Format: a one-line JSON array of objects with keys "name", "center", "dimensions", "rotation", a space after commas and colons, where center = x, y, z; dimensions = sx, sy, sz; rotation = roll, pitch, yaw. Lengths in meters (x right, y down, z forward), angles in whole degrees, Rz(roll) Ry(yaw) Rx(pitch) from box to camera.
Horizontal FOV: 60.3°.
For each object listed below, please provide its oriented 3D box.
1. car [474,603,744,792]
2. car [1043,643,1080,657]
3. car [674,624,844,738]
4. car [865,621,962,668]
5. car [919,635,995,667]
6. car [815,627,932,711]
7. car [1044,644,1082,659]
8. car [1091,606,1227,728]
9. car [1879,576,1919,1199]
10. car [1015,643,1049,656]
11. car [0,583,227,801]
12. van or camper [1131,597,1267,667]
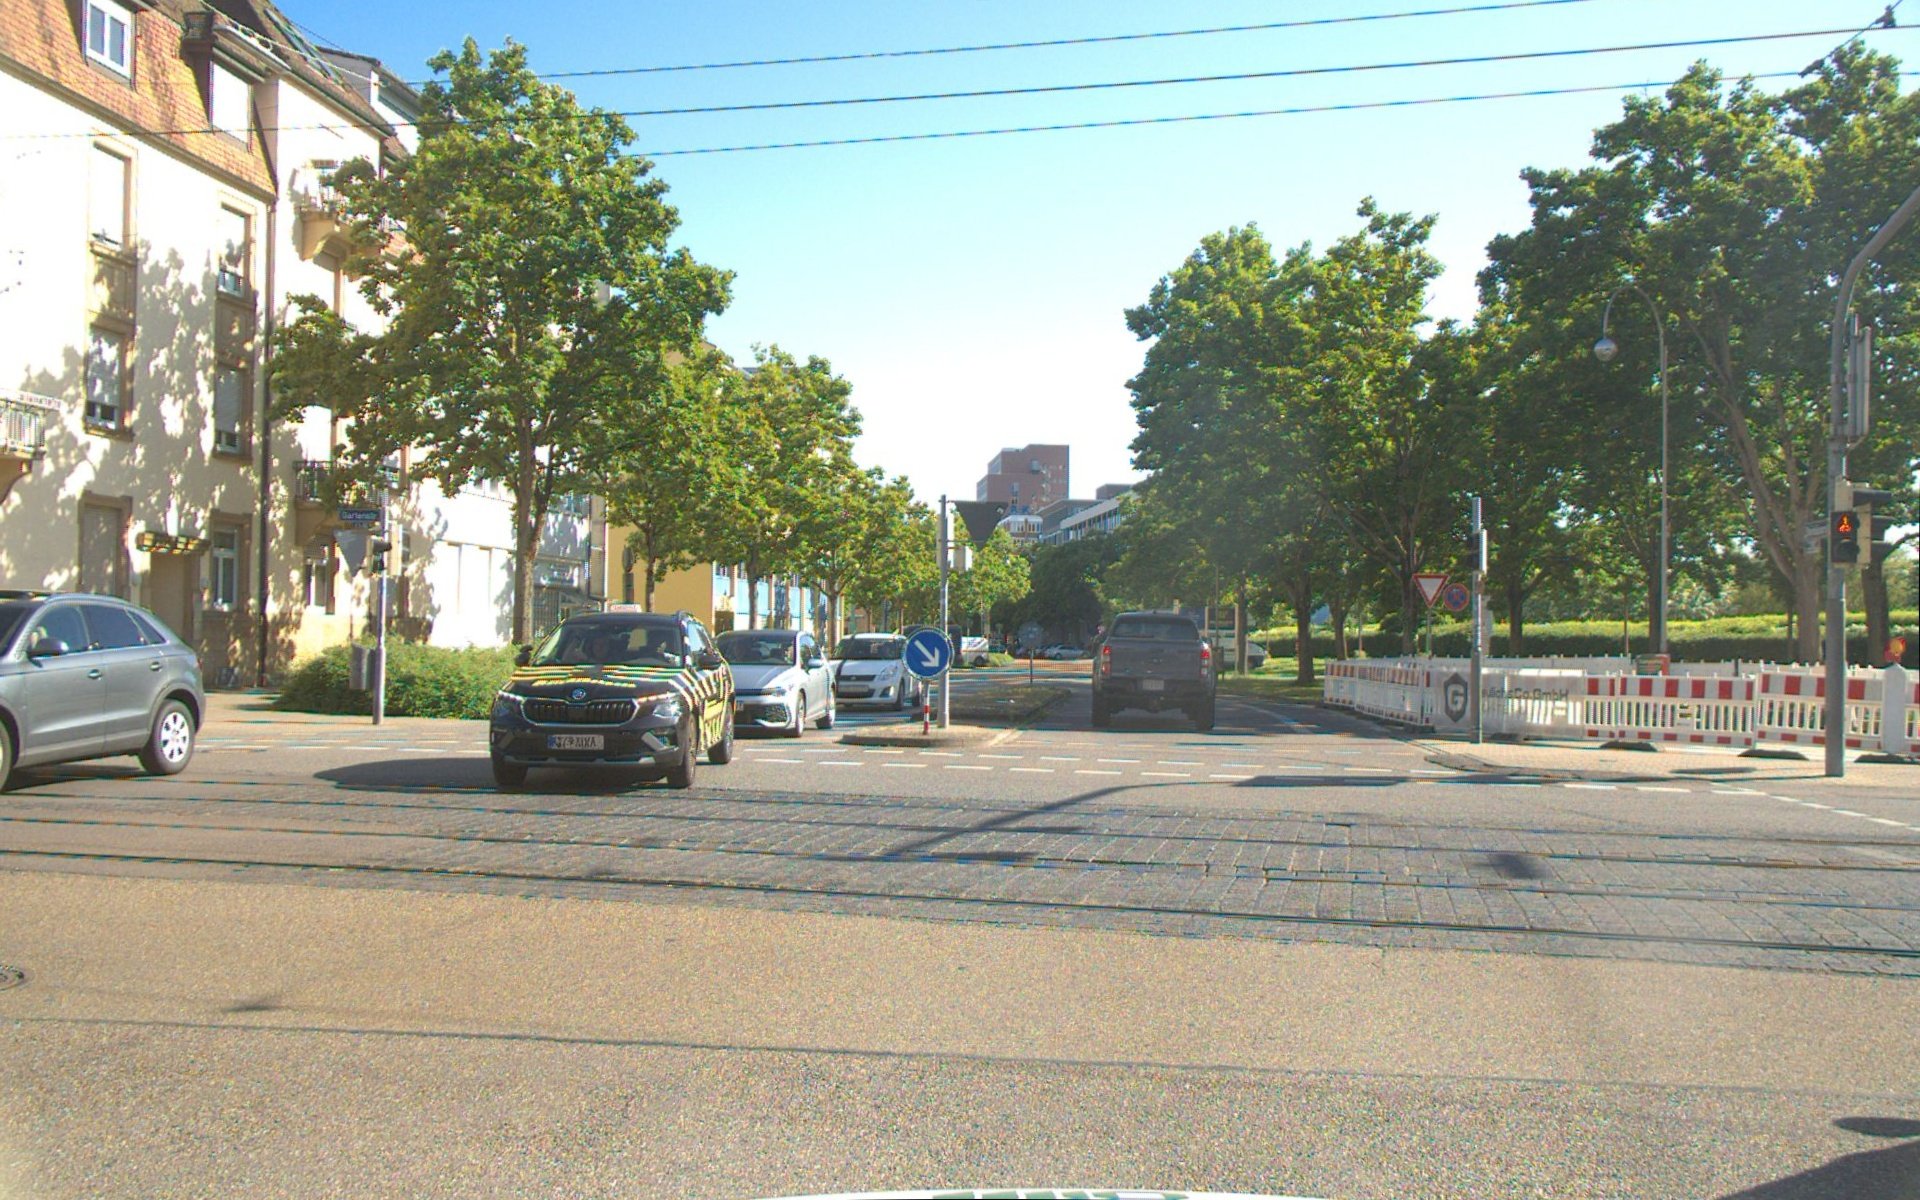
[{"name": "car", "center": [-3.145, 0.832, 15.633], "dimensions": [1.752, 1.540, 4.114], "rotation": [0, -1, -1]}, {"name": "car", "center": [11.081, 5.445, 180.908], "dimensions": [3.868, 1.421, 1.515], "rotation": [-2, -2, -3]}, {"name": "car", "center": [-2.770, 1.093, 23.580], "dimensions": [1.672, 1.478, 3.852], "rotation": [0, -1, 4]}, {"name": "car", "center": [-2.664, 2.538, 94.611], "dimensions": [5.182, 2.590, 1.974], "rotation": [0, -2, -20]}, {"name": "car", "center": [-0.189, 3.460, 112.690], "dimensions": [4.830, 2.120, 1.966], "rotation": [1, -2, -29]}, {"name": "car", "center": [-1.670, 1.341, 33.069], "dimensions": [1.668, 1.539, 3.865], "rotation": [-1, -1, 7]}, {"name": "car", "center": [10.793, 5.388, 173.674], "dimensions": [3.868, 1.421, 1.515], "rotation": [-2, -2, -3]}, {"name": "car", "center": [3.332, 1.071, 28.018], "dimensions": [2.088, 1.868, 4.943], "rotation": [0, -1, 6]}, {"name": "car", "center": [4.191, 0.762, 4.120], "dimensions": [3.706, 1.544, 1.768], "rotation": [2, -1, -32]}, {"name": "car", "center": [8.626, 5.918, 197.711], "dimensions": [3.868, 1.421, 1.515], "rotation": [-2, -2, -3]}, {"name": "car", "center": [-8.045, 0.706, 13.663], "dimensions": [1.845, 1.638, 4.150], "rotation": [0, -1, 5]}, {"name": "van or camper", "center": [10.908, 1.489, 76.056], "dimensions": [5.951, 2.980, 2.576], "rotation": [-2, -2, 5]}]
